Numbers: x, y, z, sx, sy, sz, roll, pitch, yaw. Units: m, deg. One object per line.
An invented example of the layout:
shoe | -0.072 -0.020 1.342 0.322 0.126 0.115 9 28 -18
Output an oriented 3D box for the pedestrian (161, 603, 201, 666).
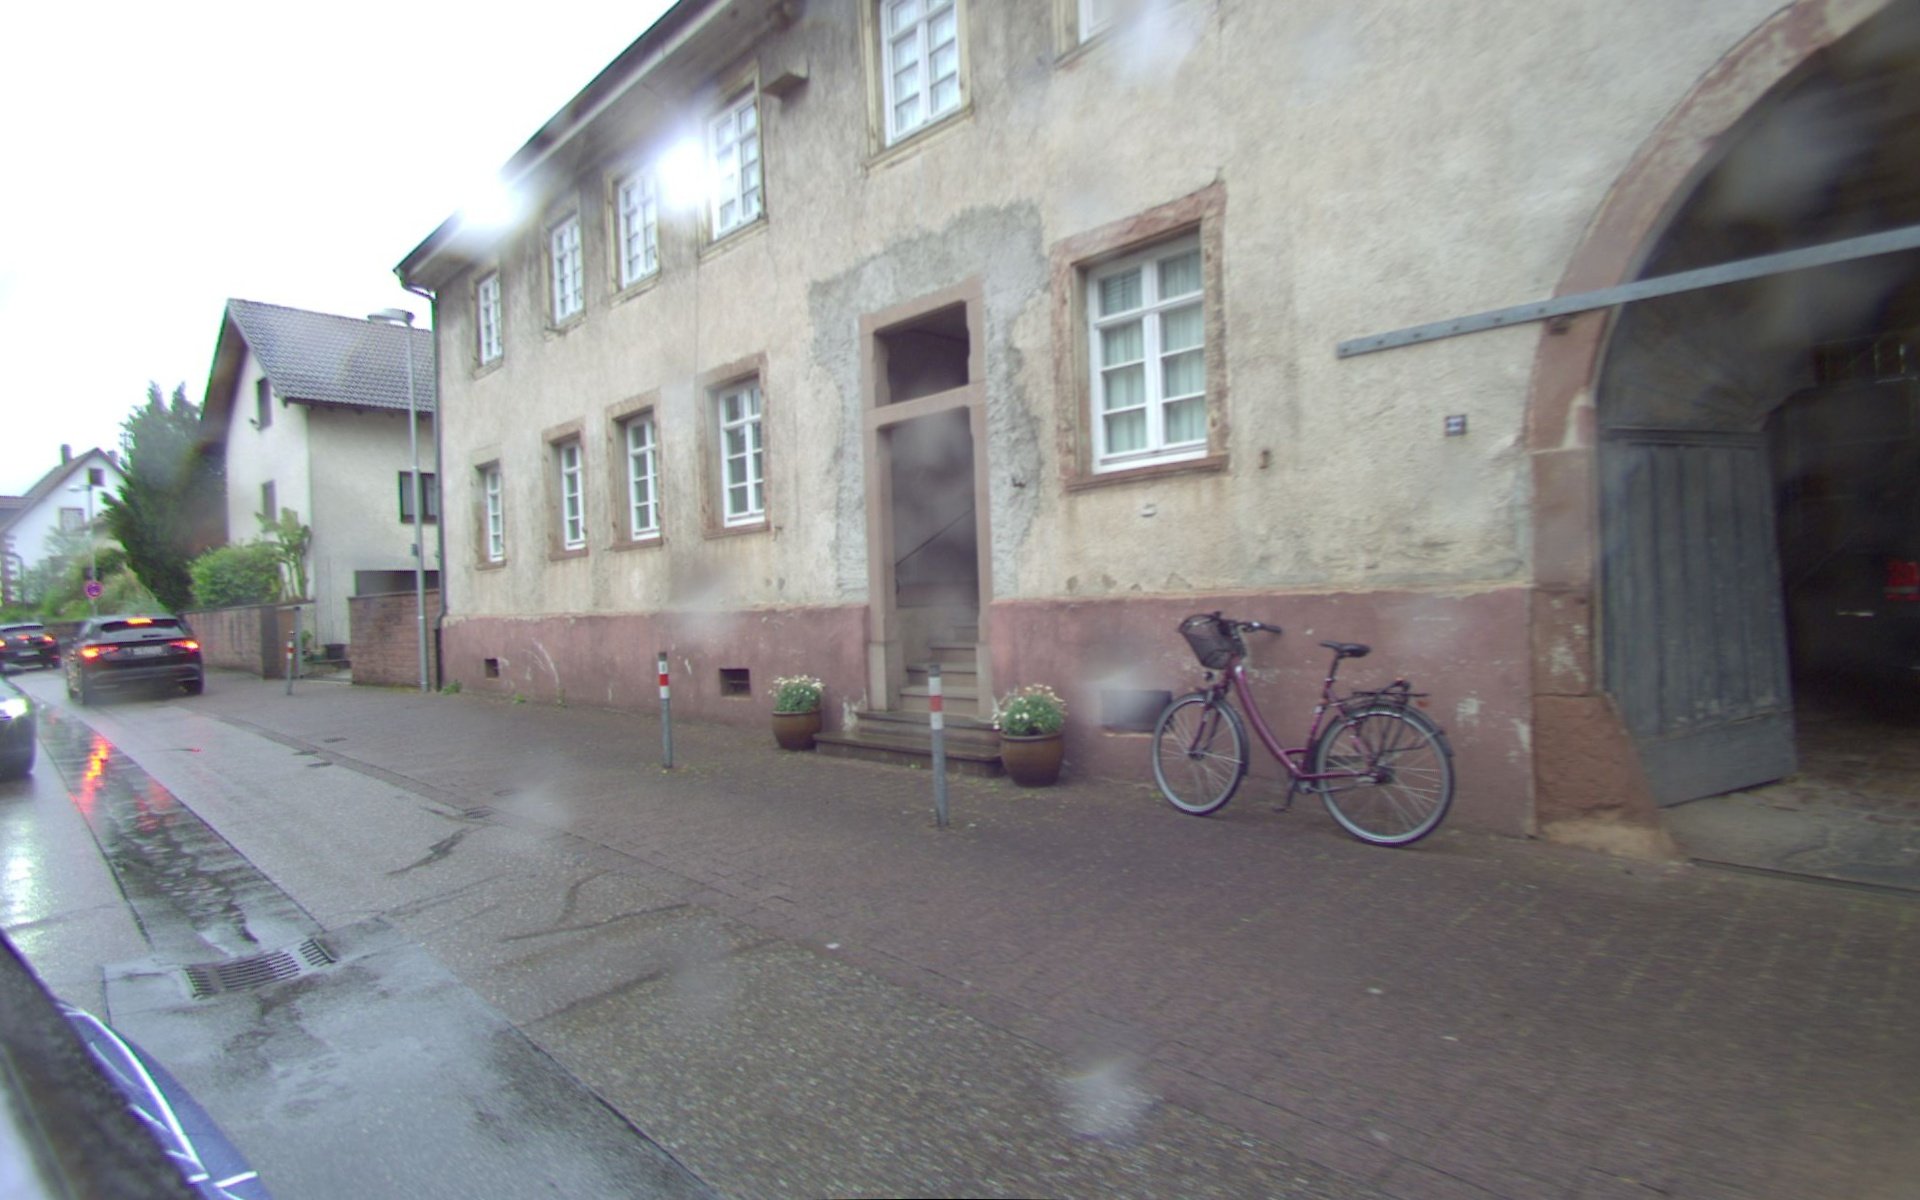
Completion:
pedestrian | -20.031 0.890 26.012 0.832 1.549 0.566 -2 2 40

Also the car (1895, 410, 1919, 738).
car | 7.748 -0.381 6.857 1.887 1.946 4.180 -2 5 45

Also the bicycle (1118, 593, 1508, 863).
bicycle | 1.781 0.606 5.371 1.875 1.187 0.476 -3 2 44

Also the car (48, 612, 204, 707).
car | -16.396 1.086 19.820 4.240 1.567 1.812 -1 1 43

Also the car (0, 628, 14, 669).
car | -37.738 1.854 38.884 4.340 1.520 1.678 -1 -1 42

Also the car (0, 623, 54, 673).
car | -30.967 1.553 33.158 3.689 1.524 1.586 -2 1 44

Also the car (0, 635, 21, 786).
car | -10.799 1.079 10.362 1.714 1.381 4.106 -1 -1 -43
